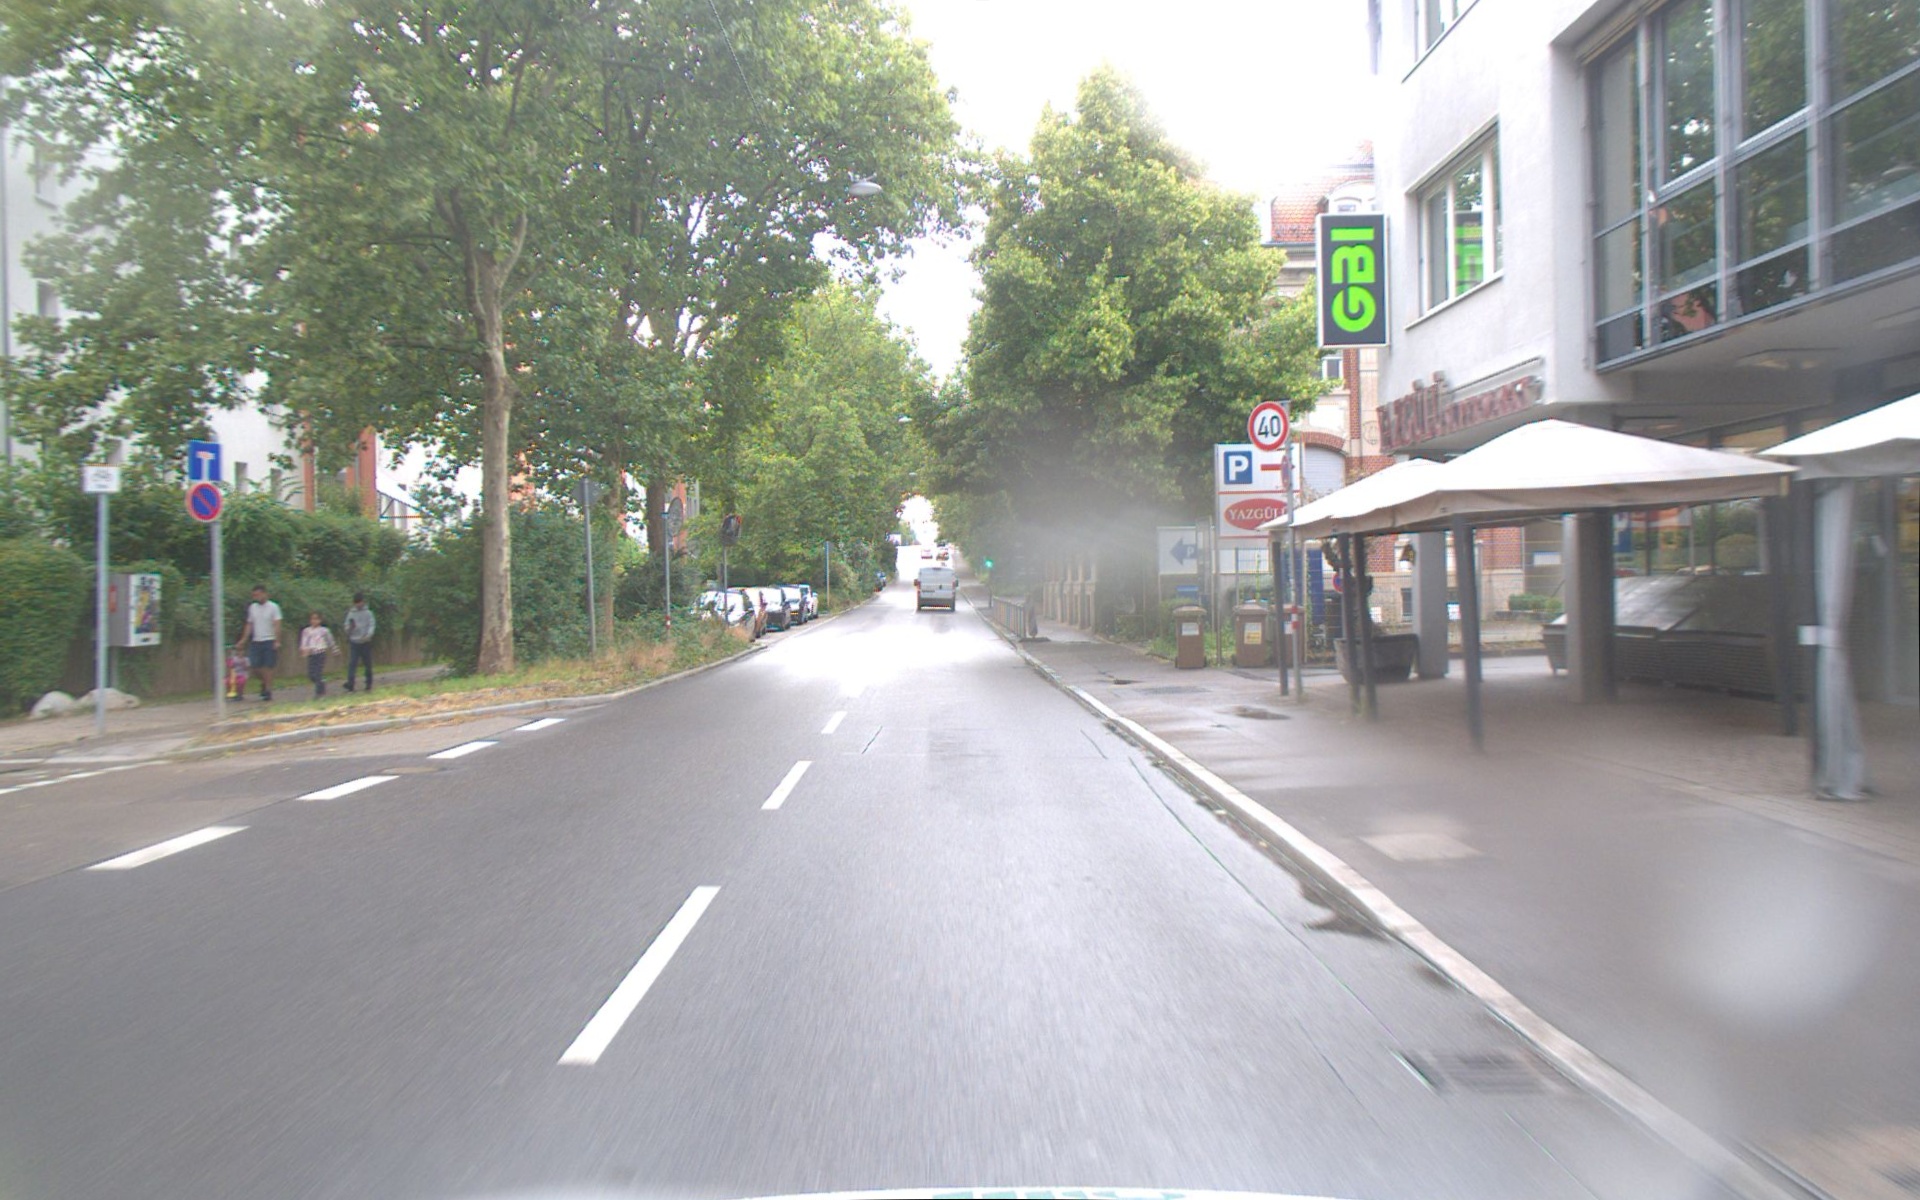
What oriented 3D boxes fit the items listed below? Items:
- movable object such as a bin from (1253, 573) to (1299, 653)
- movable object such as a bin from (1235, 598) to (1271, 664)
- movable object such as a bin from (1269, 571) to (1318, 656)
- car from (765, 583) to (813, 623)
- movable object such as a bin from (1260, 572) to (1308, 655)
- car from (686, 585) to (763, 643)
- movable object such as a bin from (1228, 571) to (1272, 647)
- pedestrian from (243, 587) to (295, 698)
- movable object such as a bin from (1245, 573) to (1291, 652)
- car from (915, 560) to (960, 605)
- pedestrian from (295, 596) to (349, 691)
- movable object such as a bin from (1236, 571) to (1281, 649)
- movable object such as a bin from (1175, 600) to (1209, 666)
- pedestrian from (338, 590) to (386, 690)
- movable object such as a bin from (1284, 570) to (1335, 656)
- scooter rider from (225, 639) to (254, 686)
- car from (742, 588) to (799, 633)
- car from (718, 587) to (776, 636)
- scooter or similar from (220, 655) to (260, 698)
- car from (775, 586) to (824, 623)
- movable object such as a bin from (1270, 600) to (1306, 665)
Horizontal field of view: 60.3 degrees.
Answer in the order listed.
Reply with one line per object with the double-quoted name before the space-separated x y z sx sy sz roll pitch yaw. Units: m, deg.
"movable object such as a bin" 6.125 0.248 32.095 0.722 1.534 0.625 -1 0 -4
"movable object such as a bin" 5.172 0.546 29.219 0.520 1.135 0.561 -1 0 1
"movable object such as a bin" 6.213 0.246 30.802 0.722 1.534 0.625 -2 0 -4
"car" -6.579 0.100 64.010 1.683 1.493 4.231 0 1 -3
"movable object such as a bin" 6.151 0.253 31.439 0.722 1.534 0.625 -1 0 -4
"car" -6.523 0.349 46.210 1.682 1.535 4.802 0 1 -3
"movable object such as a bin" 5.965 0.173 34.018 0.722 1.527 0.625 -2 0 -4
"pedestrian" -10.560 0.645 25.273 0.529 1.659 0.590 -1 0 -3
"movable object such as a bin" 6.094 0.244 32.746 0.722 1.534 0.625 -1 0 -4
"car" -1.158 -0.878 86.881 2.288 2.270 3.999 1 0 0
"pedestrian" -9.727 0.658 25.231 0.583 1.422 0.590 -1 0 -3
"movable object such as a bin" 6.016 0.201 33.392 0.722 1.534 0.625 -2 0 -4
"movable object such as a bin" 4.112 0.583 29.337 0.494 1.135 0.618 -1 0 -1
"pedestrian" -10.159 0.667 28.102 0.583 1.659 0.590 -1 0 -3
"movable object such as a bin" 6.376 0.238 30.185 0.722 1.534 0.625 -2 0 -4
"scooter rider" -11.087 0.958 25.452 0.322 0.696 0.392 -1 0 -14
"car" -6.612 0.349 57.895 1.682 1.493 3.754 0 1 -2
"car" -6.727 0.331 52.593 1.524 1.493 3.396 0 1 -2
"scooter or similar" -11.098 1.168 25.496 0.365 0.606 1.054 -1 0 -13
"car" -6.861 0.166 70.866 1.681 1.493 4.309 0 1 0
"movable object such as a bin" 5.821 0.574 29.391 0.494 1.135 0.618 -1 0 -1
